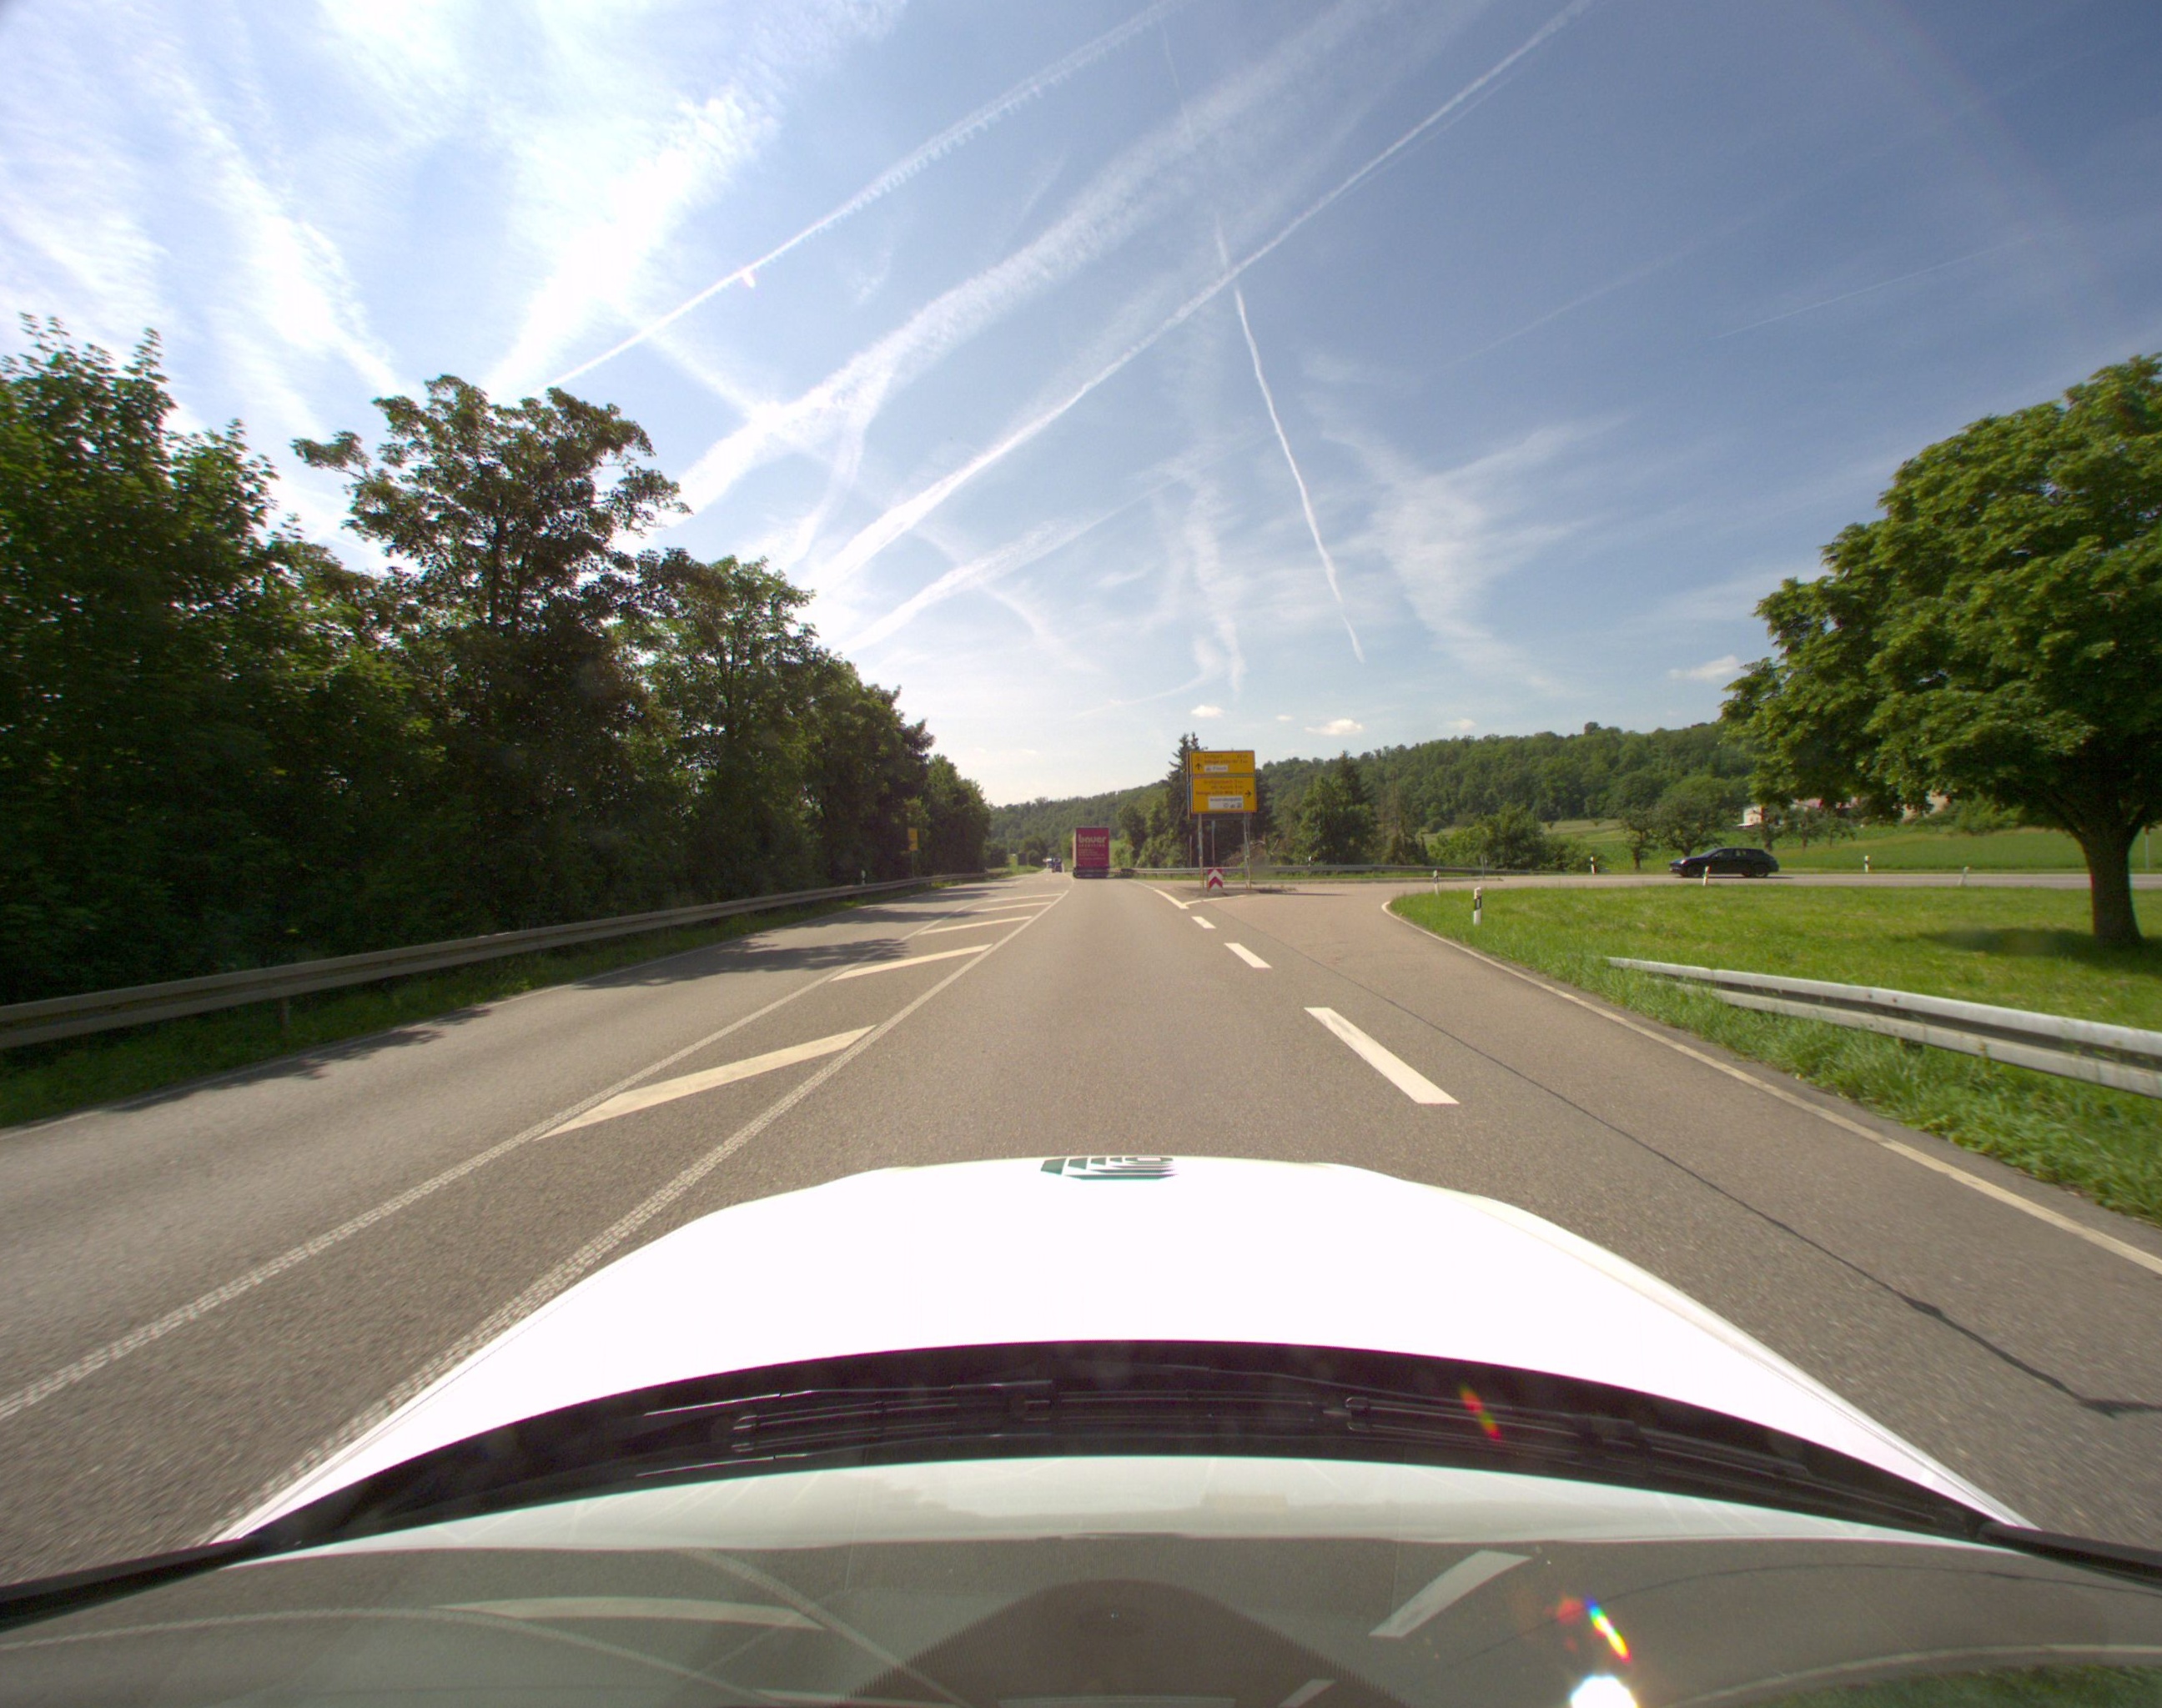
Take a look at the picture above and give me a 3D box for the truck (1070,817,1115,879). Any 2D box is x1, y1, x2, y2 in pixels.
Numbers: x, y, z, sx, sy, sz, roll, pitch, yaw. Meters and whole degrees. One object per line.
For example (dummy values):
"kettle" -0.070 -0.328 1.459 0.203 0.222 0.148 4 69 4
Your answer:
"truck" 0.746 -0.399 68.265 3.164 4.625 13.534 -1 -1 -1

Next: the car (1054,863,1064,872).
"car" -4.963 3.037 183.689 1.989 1.810 3.995 2 -1 -3

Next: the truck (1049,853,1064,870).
"truck" -6.474 2.034 215.082 3.895 4.370 13.278 1 -1 -2

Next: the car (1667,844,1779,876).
"car" 34.259 0.307 43.607 4.374 1.589 2.076 -1 2 25
